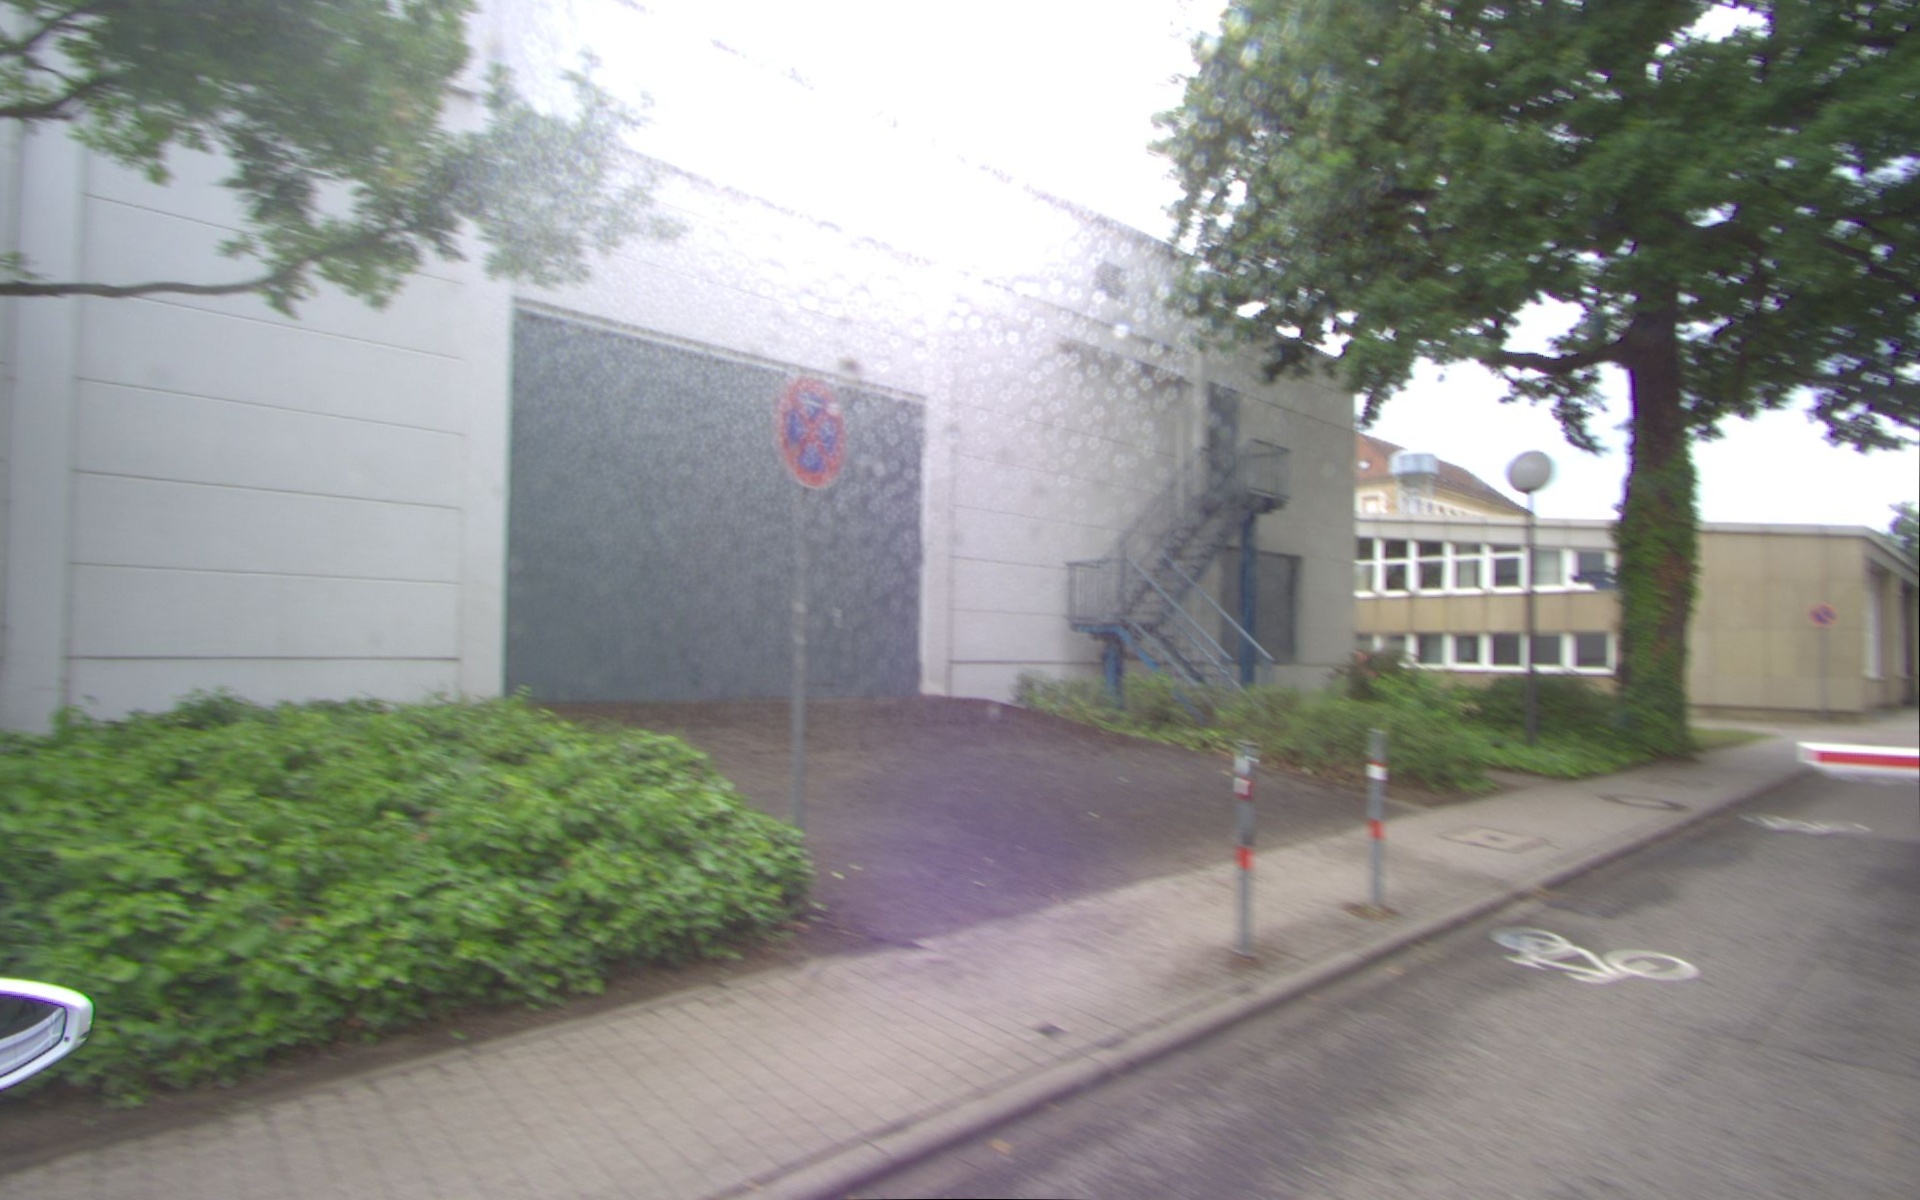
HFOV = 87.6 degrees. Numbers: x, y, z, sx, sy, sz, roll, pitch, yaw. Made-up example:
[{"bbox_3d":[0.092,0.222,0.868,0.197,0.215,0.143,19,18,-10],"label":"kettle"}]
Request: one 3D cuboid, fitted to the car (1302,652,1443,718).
[{"bbox_3d":[10.682,2.153,25.819,3.961,1.549,1.852,4,-3,-42],"label":"car"}]
